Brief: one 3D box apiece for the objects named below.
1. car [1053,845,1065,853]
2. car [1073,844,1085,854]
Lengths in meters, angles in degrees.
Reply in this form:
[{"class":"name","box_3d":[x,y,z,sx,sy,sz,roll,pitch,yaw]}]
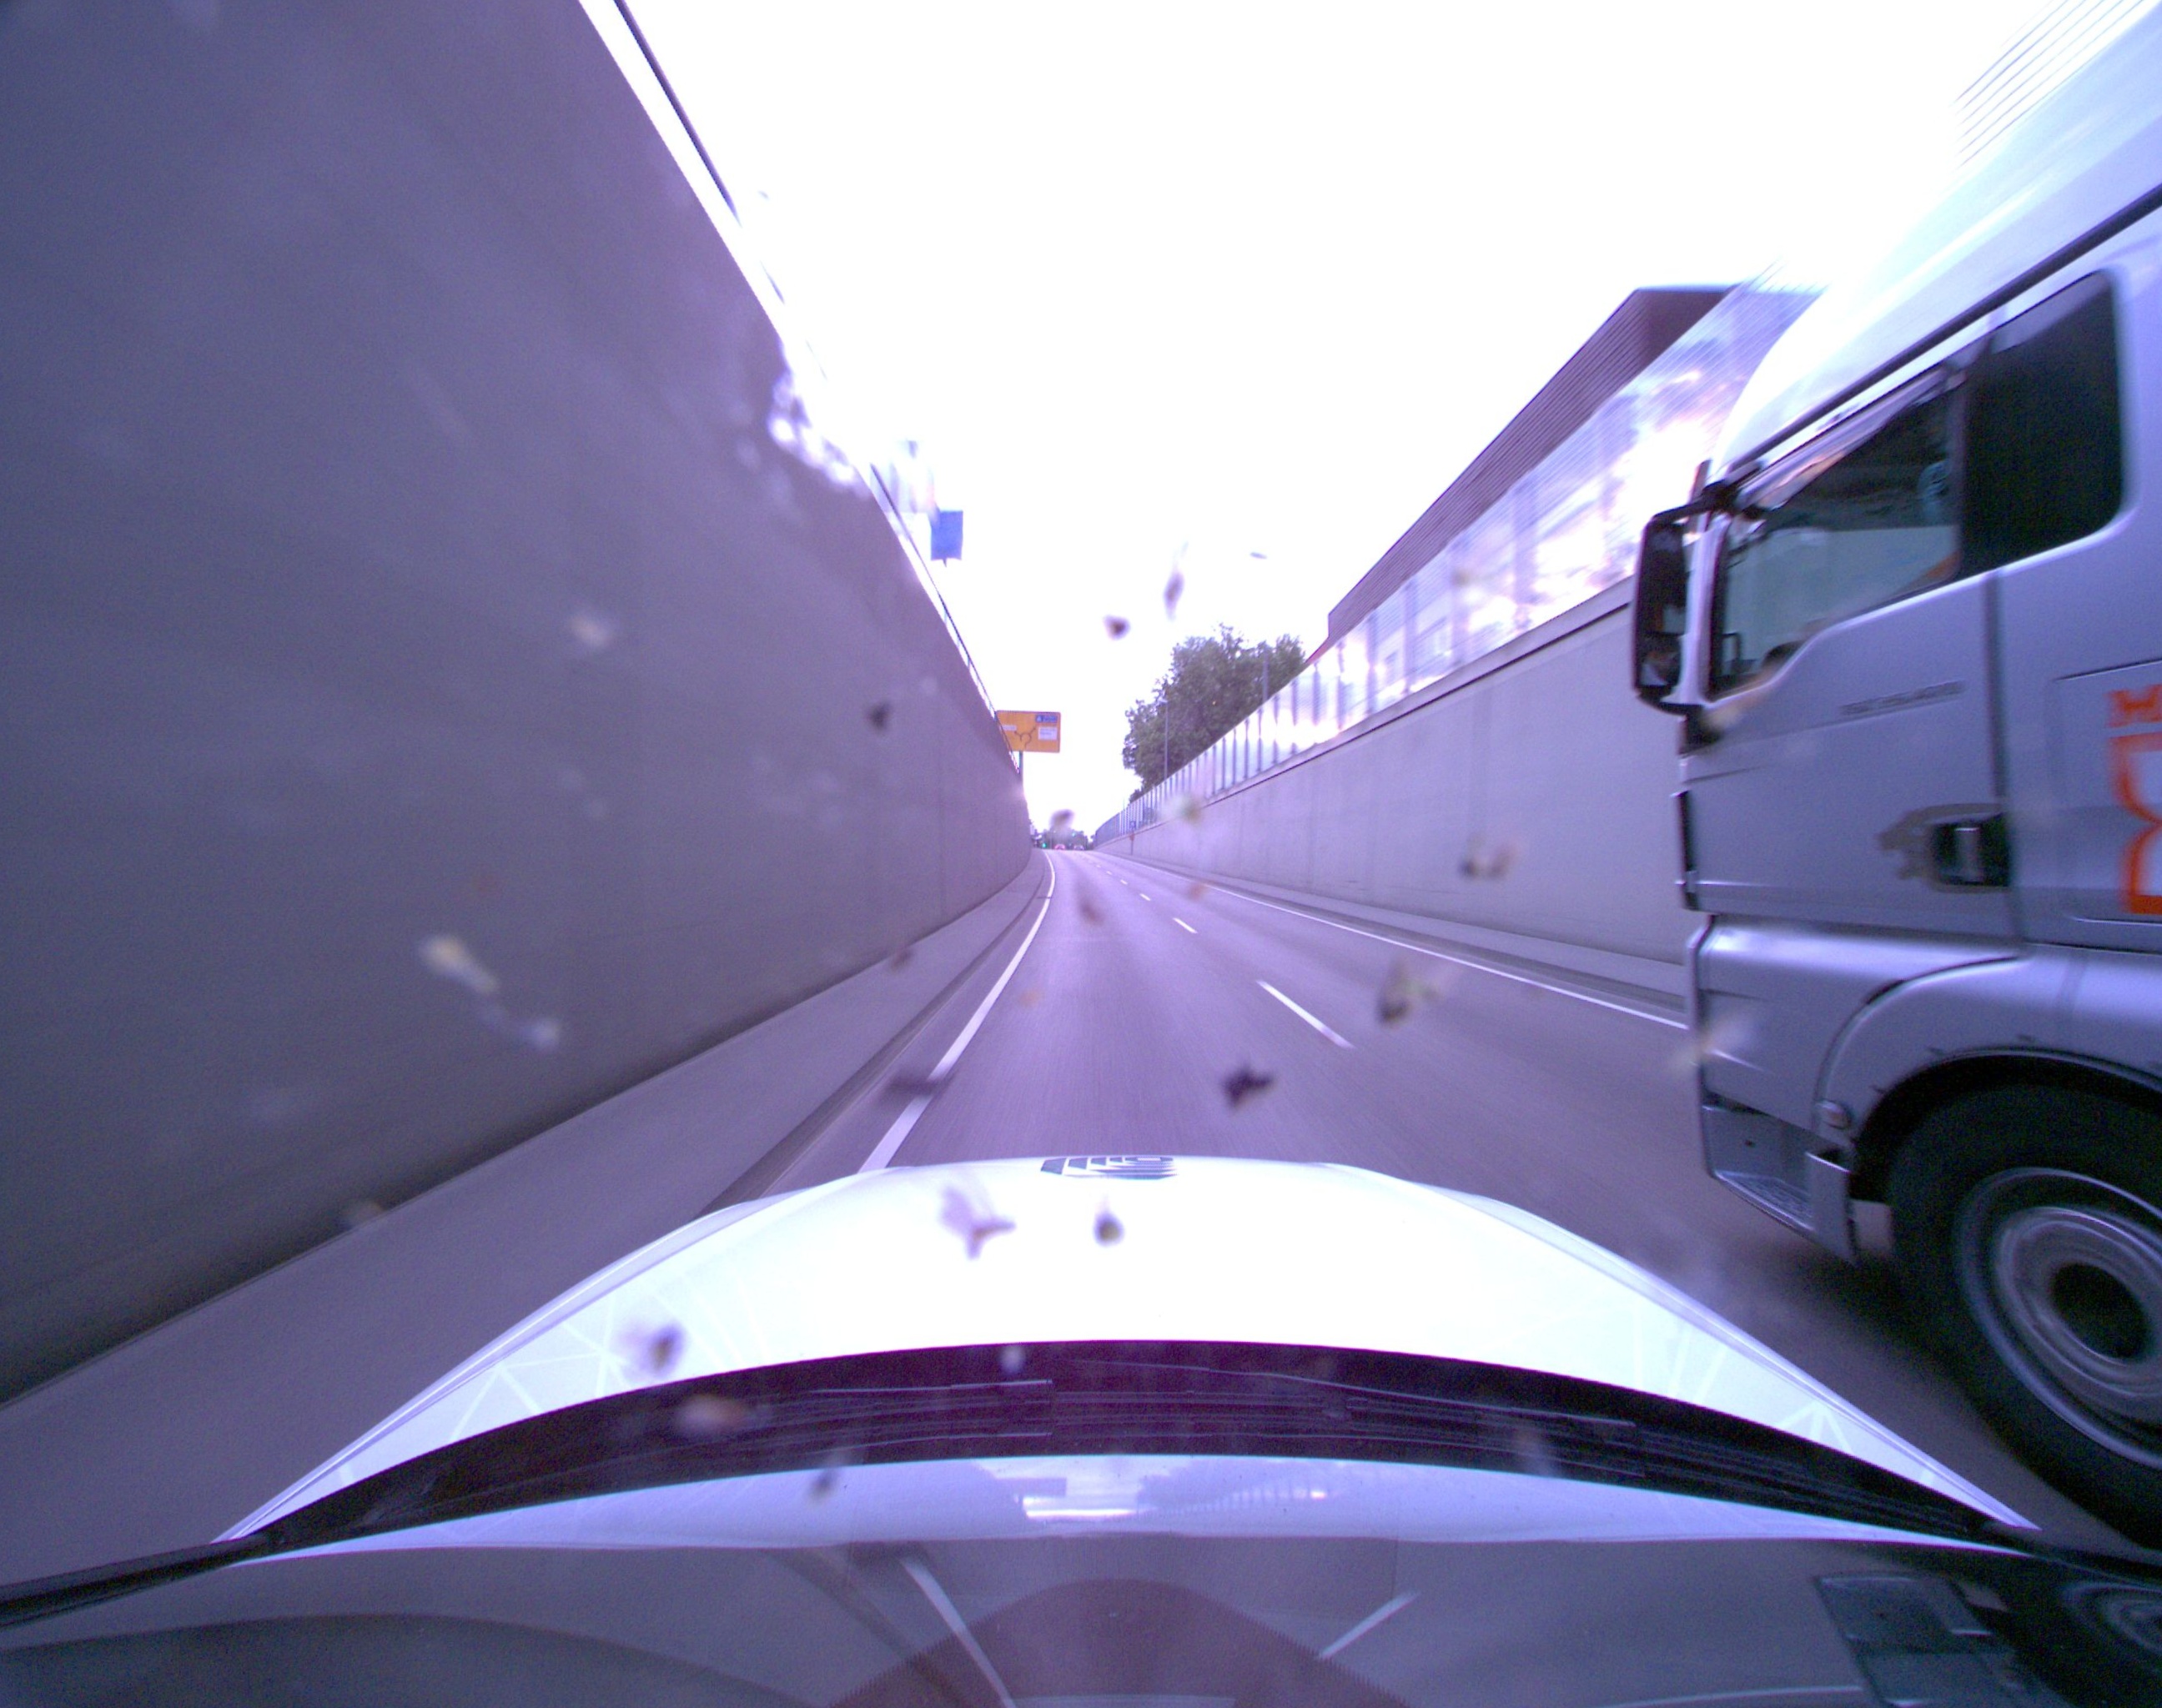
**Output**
[{"class":"car","box_3d":[-4.134,-0.965,150.640,1.839,1.389,3.991,2,-1,-6]},{"class":"car","box_3d":[-0.406,-0.862,153.486,1.866,1.732,3.993,2,-1,-5]}]
